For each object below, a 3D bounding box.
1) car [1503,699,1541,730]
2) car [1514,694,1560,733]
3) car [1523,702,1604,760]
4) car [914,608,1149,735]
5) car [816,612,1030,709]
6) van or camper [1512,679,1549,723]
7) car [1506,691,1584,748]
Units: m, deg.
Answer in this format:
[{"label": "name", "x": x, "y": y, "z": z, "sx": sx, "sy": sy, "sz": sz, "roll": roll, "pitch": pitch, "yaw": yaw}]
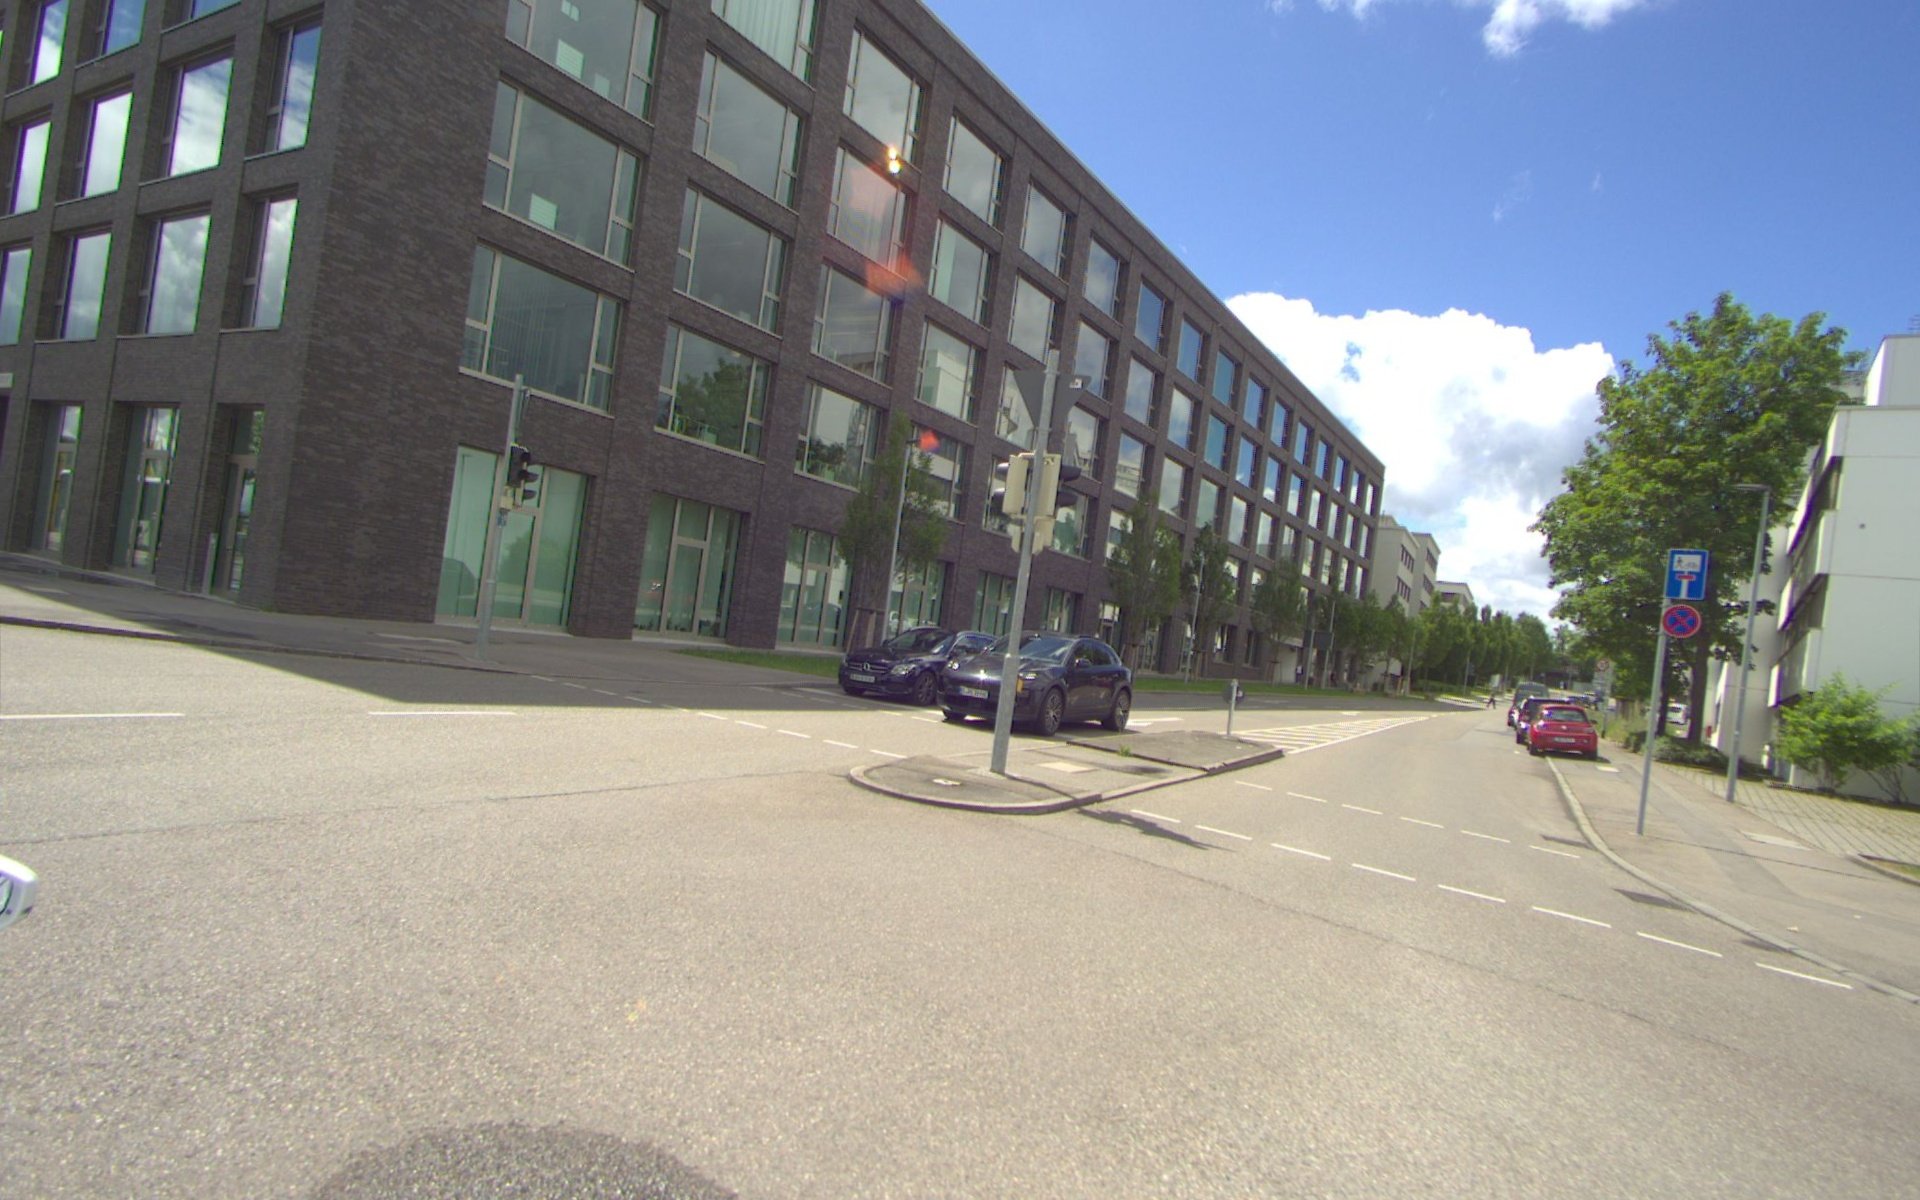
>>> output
[{"label": "car", "x": 29.688, "y": 6.055, "z": 53.178, "sx": 1.471, "sy": 1.354, "sz": 3.538, "roll": 7, "pitch": -3, "yaw": 27}, {"label": "car", "x": 25.969, "y": 5.136, "z": 45.327, "sx": 1.471, "sy": 1.478, "sz": 3.538, "roll": 7, "pitch": -3, "yaw": 27}, {"label": "car", "x": 17.822, "y": 3.827, "z": 29.844, "sx": 1.716, "sy": 1.478, "sz": 3.679, "roll": 1, "pitch": -4, "yaw": 26}, {"label": "car", "x": 1.387, "y": 1.256, "z": 17.089, "sx": 1.967, "sy": 1.637, "sz": 4.649, "roll": 7, "pitch": -2, "yaw": 31}, {"label": "car", "x": -0.579, "y": 1.264, "z": 20.012, "sx": 1.967, "sy": 1.509, "sz": 4.532, "roll": 6, "pitch": -2, "yaw": 32}, {"label": "van or camper", "x": 40.658, "y": 7.178, "z": 71.676, "sx": 1.966, "sy": 2.770, "sz": 5.118, "roll": 7, "pitch": -1, "yaw": 30}, {"label": "car", "x": 20.136, "y": 4.063, "z": 34.768, "sx": 1.838, "sy": 1.588, "sz": 4.311, "roll": 7, "pitch": -2, "yaw": 26}]
